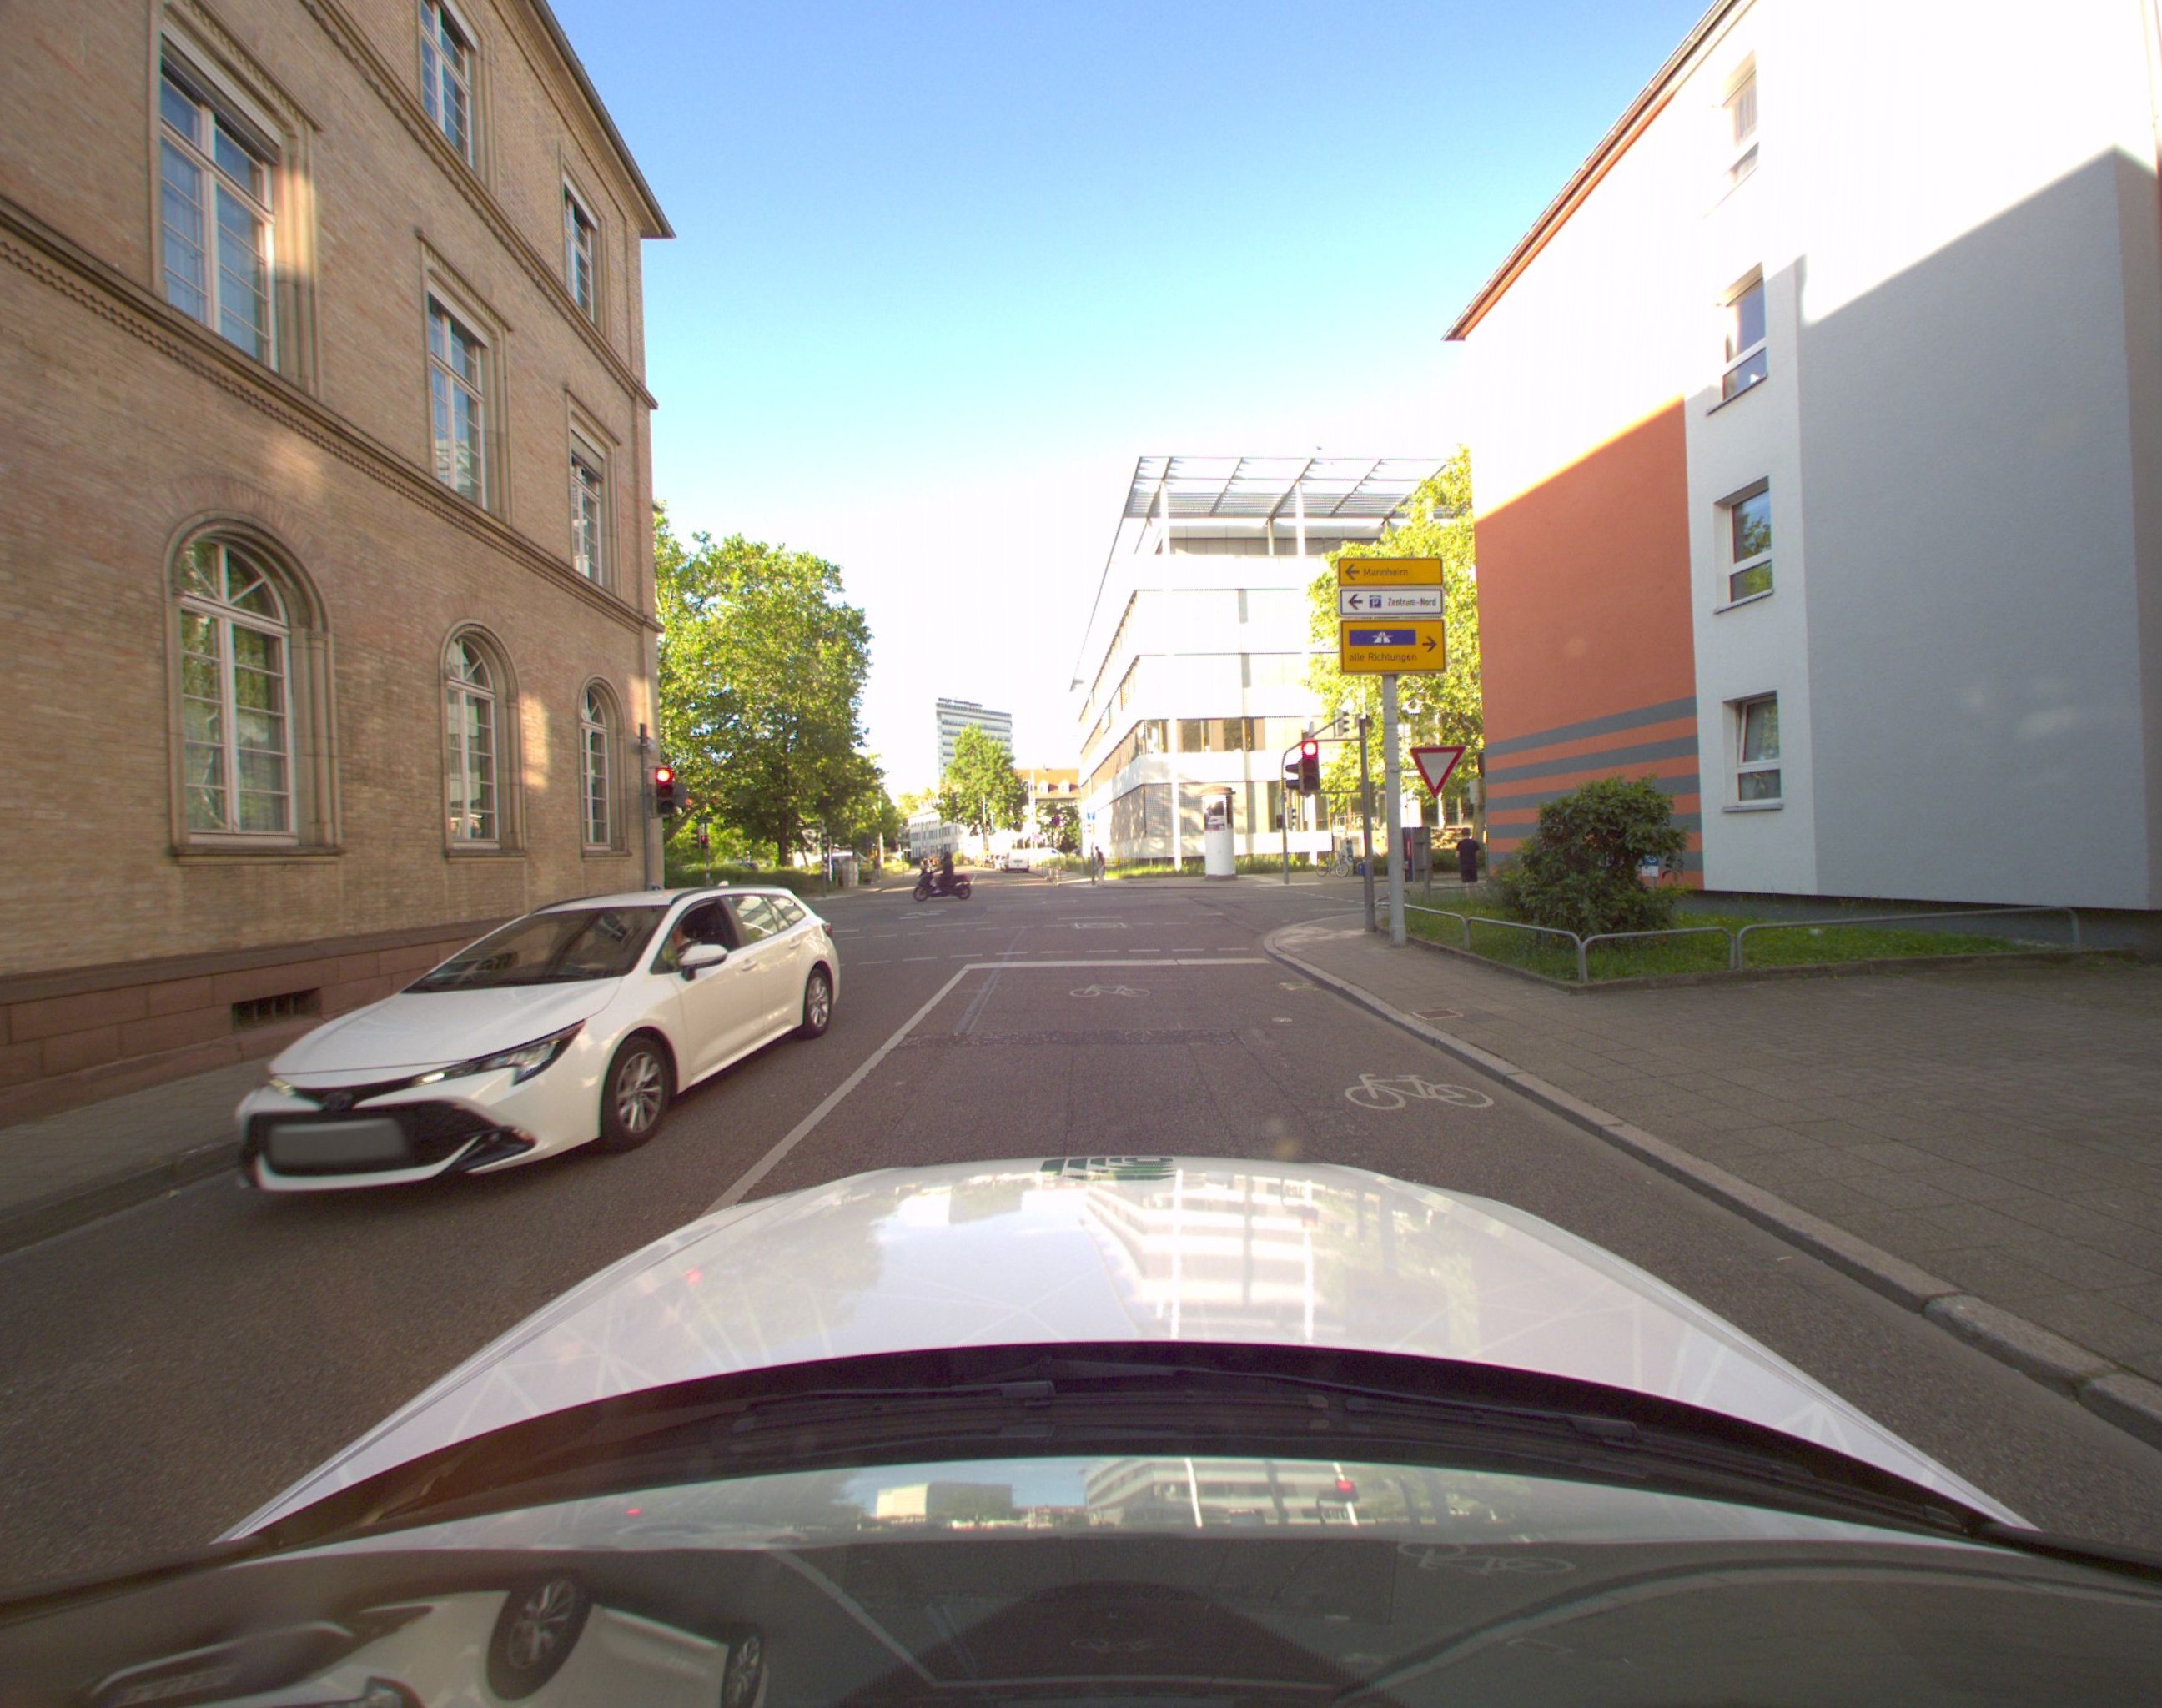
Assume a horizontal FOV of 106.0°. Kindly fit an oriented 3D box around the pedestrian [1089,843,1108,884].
[{"bbox_3d":[0.833,0.447,37.932,0.555,1.850,0.680,-5,1,18],"label":"pedestrian"}]

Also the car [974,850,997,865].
[{"bbox_3d":[-11.274,0.428,95.963,1.893,1.655,4.390,-2,1,-16],"label":"car"}]

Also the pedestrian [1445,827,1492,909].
[{"bbox_3d":[8.858,0.306,18.638,0.704,1.840,0.837,0,0,1],"label":"pedestrian"}]

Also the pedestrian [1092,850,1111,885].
[{"bbox_3d":[0.926,0.605,37.323,0.561,1.540,0.673,-5,1,-16],"label":"pedestrian"}]

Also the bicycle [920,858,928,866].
[{"bbox_3d":[-21.373,1.117,111.129,0.865,1.009,2.407,-5,0,-9],"label":"bicycle"}]

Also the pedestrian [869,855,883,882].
[{"bbox_3d":[-13.168,0.934,52.284,0.703,1.723,0.951,-3,0,-12],"label":"pedestrian"}]

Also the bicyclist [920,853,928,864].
[{"bbox_3d":[-21.408,0.594,111.145,0.865,1.515,1.016,-5,0,-9],"label":"bicyclist"}]

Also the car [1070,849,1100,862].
[{"bbox_3d":[0.508,0.172,104.431,3.563,1.546,1.549,-2,0,-17],"label":"car"}]

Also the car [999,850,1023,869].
[{"bbox_3d":[-6.333,0.504,73.270,1.887,1.555,4.403,-2,1,-8],"label":"car"}]

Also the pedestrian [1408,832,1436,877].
[{"bbox_3d":[14.301,0.017,34.133,0.834,1.840,0.707,0,0,-8],"label":"pedestrian"}]

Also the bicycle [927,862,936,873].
[{"bbox_3d":[-13.205,1.191,71.804,0.615,0.969,1.837,-3,0,-7],"label":"bicycle"}]

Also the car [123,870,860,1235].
[{"bbox_3d":[-3.360,0.968,6.033,1.879,1.476,4.548,-4,0,3],"label":"car"}]

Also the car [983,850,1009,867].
[{"bbox_3d":[-9.025,0.435,85.965,1.893,1.655,4.390,-2,1,-16],"label":"car"}]

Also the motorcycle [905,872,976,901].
[{"bbox_3d":[-4.946,1.145,28.749,2.289,0.888,0.821,-2,0,1],"label":"motorcycle"}]

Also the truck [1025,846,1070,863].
[{"bbox_3d":[-4.244,0.071,103.360,5.351,2.013,1.988,-2,0,-17],"label":"truck"}]

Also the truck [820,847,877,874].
[{"bbox_3d":[-21.608,0.591,75.828,4.825,2.399,2.082,-2,0,-8],"label":"truck"}]

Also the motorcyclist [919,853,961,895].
[{"bbox_3d":[-4.967,0.683,28.754,1.289,1.419,0.821,-2,0,1],"label":"motorcyclist"}]

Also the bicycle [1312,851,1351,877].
[{"bbox_3d":[11.030,0.418,35.912,0.510,1.049,1.670,-4,3,-33],"label":"bicycle"}]

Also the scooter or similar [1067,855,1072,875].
[{"bbox_3d":[-0.826,0.758,58.747,0.329,1.424,1.333,0,-1,-4],"label":"scooter or similar"}]

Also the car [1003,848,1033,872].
[{"bbox_3d":[-5.090,0.450,64.941,2.084,1.795,4.403,-2,1,-8],"label":"car"}]

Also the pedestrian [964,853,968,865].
[{"bbox_3d":[-15.324,0.696,108.454,0.435,1.607,0.489,-2,0,-24],"label":"pedestrian"}]

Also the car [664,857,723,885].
[{"bbox_3d":[-37.167,1.627,78.118,4.551,2.391,2.069,-3,0,-7],"label":"car"}]

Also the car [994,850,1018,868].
[{"bbox_3d":[-7.267,0.479,78.668,1.889,1.555,4.398,-2,1,-11],"label":"car"}]

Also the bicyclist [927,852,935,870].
[{"bbox_3d":[-13.230,0.604,71.818,0.615,1.532,0.901,-3,0,-7],"label":"bicyclist"}]
